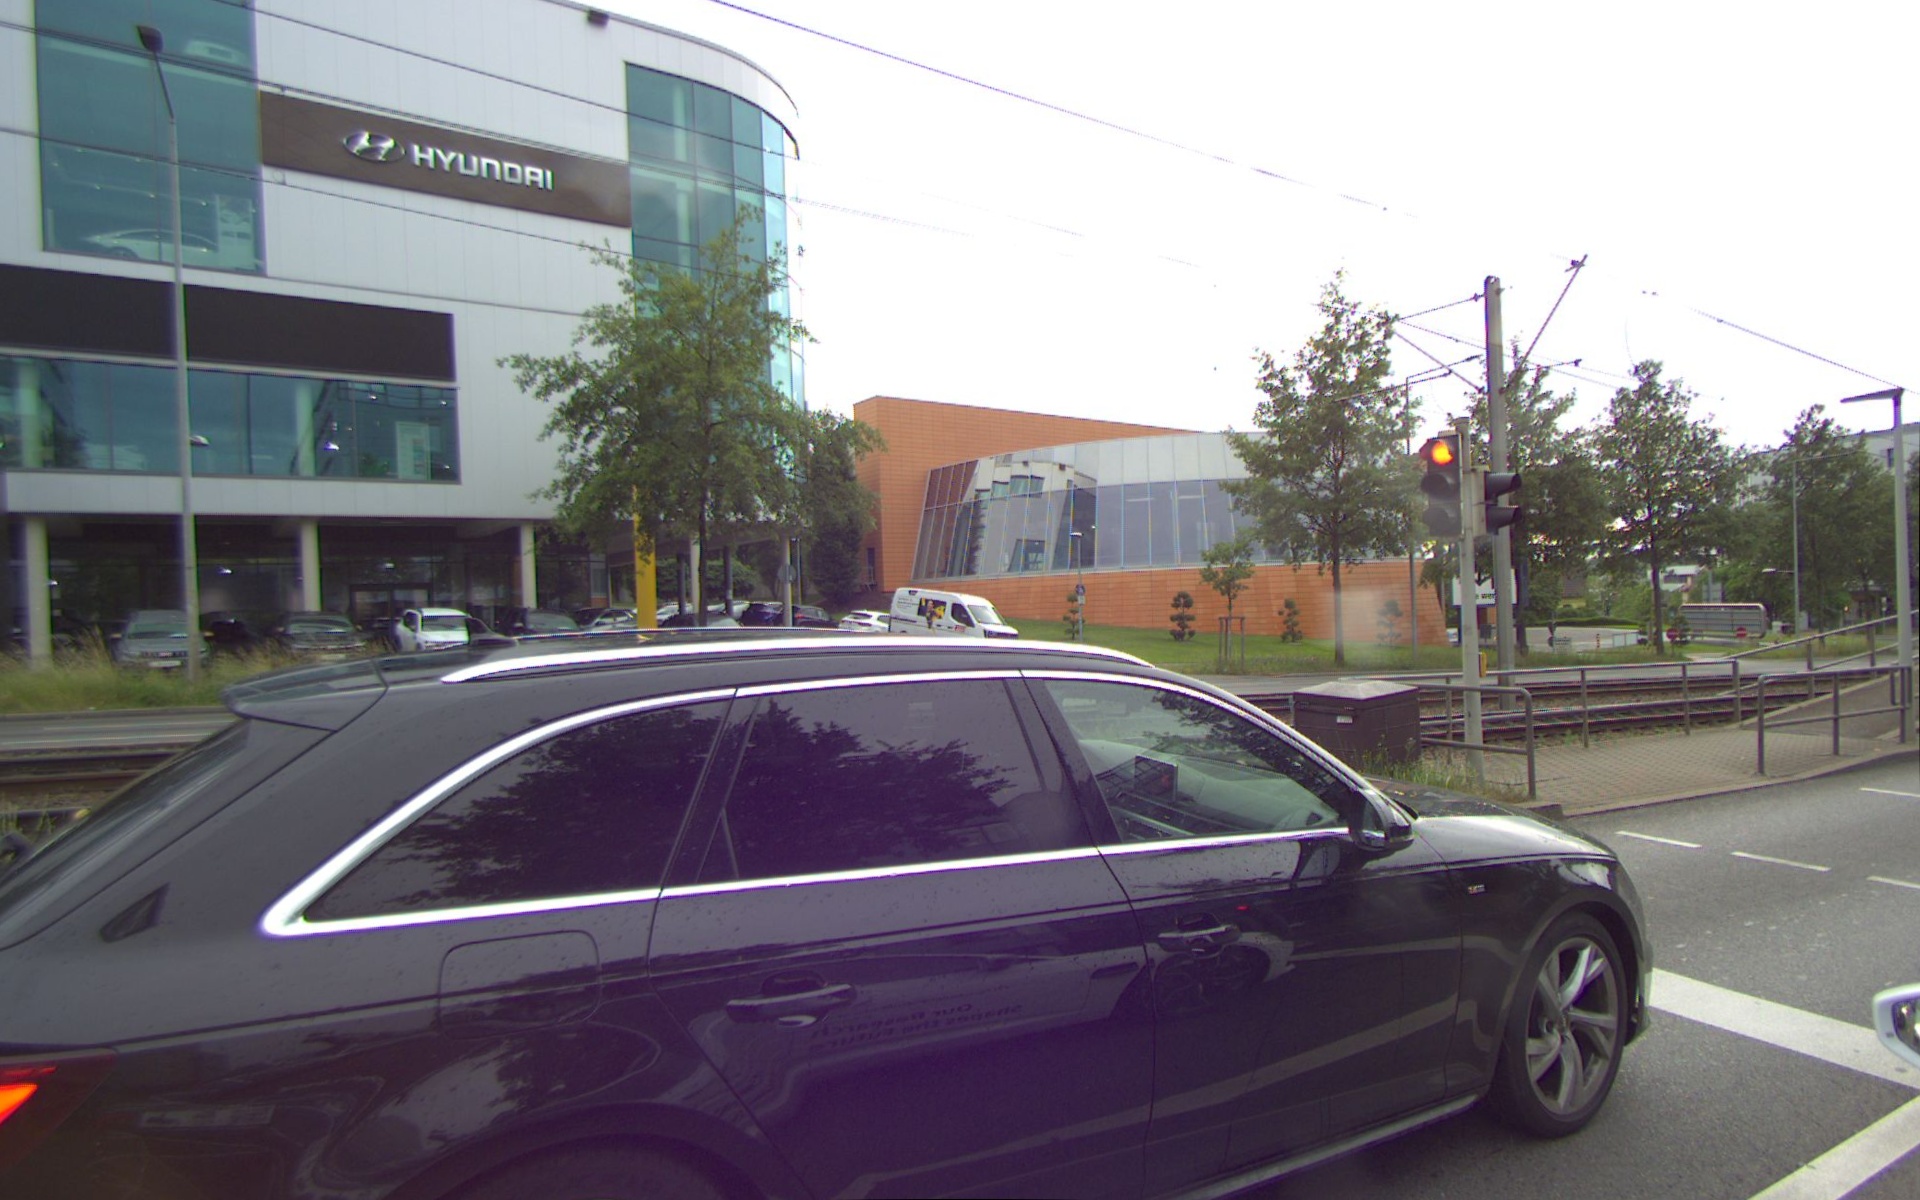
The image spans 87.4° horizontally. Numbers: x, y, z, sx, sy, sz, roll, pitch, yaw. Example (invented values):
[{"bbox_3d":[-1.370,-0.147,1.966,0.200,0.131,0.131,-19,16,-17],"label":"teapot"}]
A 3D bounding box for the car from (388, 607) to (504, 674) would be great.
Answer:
[{"bbox_3d":[-14.504,1.073,28.245,1.984,1.571,4.324,1,1,-40],"label":"car"}]

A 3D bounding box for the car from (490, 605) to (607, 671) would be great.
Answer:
[{"bbox_3d":[-12.287,1.077,29.863,1.984,1.637,4.324,1,1,-40],"label":"car"}]

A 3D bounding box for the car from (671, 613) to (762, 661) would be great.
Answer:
[{"bbox_3d":[-7.737,1.134,31.762,1.565,1.409,3.619,0,-1,-36],"label":"car"}]

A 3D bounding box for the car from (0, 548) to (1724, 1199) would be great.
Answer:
[{"bbox_3d":[0.110,0.719,2.876,4.461,1.486,1.772,1,-1,-31],"label":"car"}]

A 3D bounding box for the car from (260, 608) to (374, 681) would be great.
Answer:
[{"bbox_3d":[-16.962,1.104,26.390,1.984,1.571,4.324,1,1,-40],"label":"car"}]

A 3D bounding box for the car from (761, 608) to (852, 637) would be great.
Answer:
[{"bbox_3d":[-7.222,1.063,47.513,1.969,1.297,3.982,0,-1,39],"label":"car"}]

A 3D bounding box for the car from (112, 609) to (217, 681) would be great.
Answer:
[{"bbox_3d":[-19.871,1.058,25.064,1.917,1.479,3.974,1,1,-40],"label":"car"}]

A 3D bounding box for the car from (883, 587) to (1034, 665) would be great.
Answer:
[{"bbox_3d":[-0.124,0.913,38.109,5.544,2.616,2.392,3,1,43],"label":"car"}]

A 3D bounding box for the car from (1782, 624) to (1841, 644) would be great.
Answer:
[{"bbox_3d":[66.348,2.635,78.344,1.408,1.405,3.371,0,0,-13],"label":"car"}]

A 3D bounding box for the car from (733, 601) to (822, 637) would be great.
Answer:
[{"bbox_3d":[-8.873,0.909,49.078,1.969,1.653,3.982,0,-1,39],"label":"car"}]

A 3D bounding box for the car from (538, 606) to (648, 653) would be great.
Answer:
[{"bbox_3d":[-12.837,1.011,35.339,1.691,1.572,3.587,0,-1,20],"label":"car"}]

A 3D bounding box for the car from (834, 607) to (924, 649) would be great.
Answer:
[{"bbox_3d":[-3.344,1.161,42.159,1.703,1.688,3.734,1,-1,38],"label":"car"}]
